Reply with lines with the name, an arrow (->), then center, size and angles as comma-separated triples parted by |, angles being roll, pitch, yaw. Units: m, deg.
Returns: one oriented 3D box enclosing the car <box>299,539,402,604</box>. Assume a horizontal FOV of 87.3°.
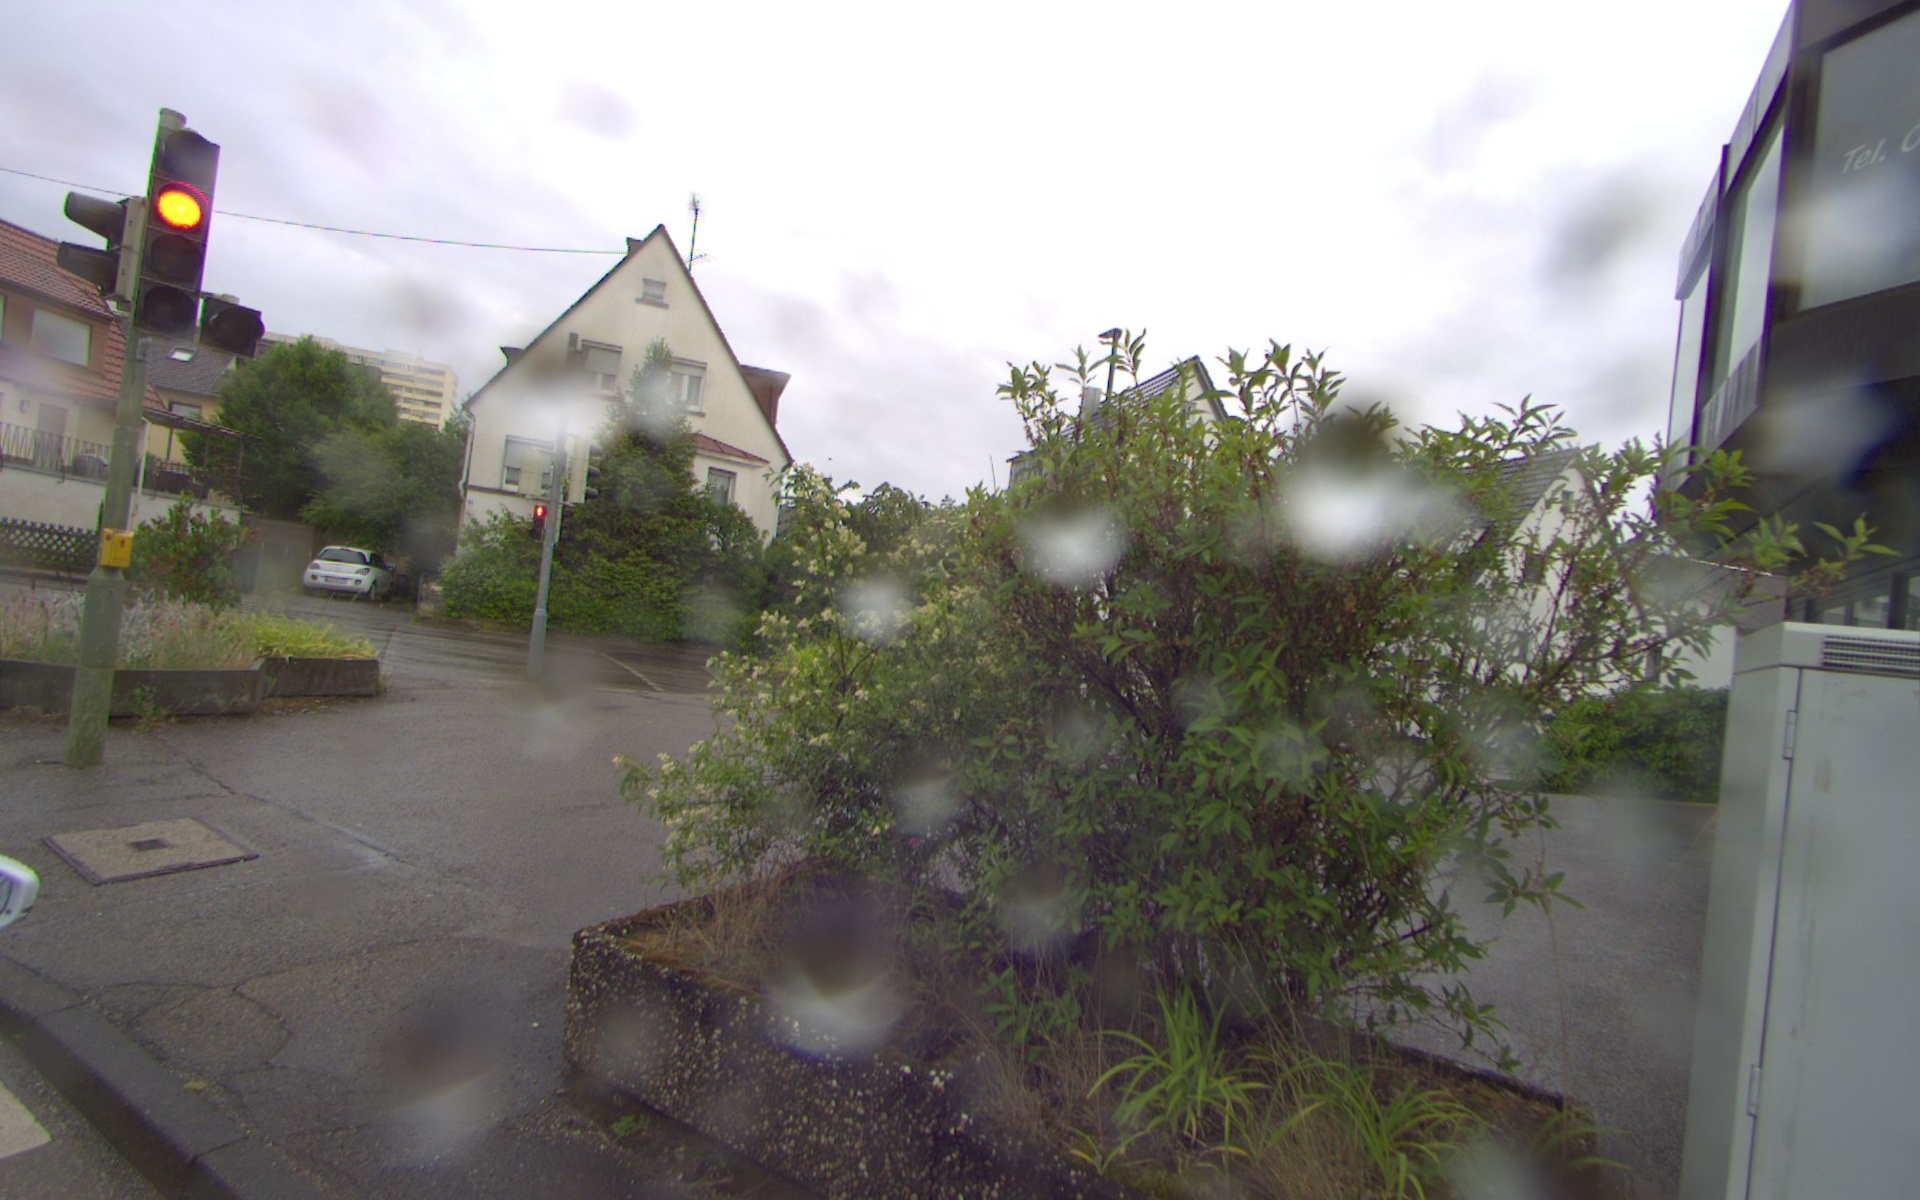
car -> -17.685, -0.814, 29.375 | 1.722, 1.532, 3.982 | 9, -2, -21
